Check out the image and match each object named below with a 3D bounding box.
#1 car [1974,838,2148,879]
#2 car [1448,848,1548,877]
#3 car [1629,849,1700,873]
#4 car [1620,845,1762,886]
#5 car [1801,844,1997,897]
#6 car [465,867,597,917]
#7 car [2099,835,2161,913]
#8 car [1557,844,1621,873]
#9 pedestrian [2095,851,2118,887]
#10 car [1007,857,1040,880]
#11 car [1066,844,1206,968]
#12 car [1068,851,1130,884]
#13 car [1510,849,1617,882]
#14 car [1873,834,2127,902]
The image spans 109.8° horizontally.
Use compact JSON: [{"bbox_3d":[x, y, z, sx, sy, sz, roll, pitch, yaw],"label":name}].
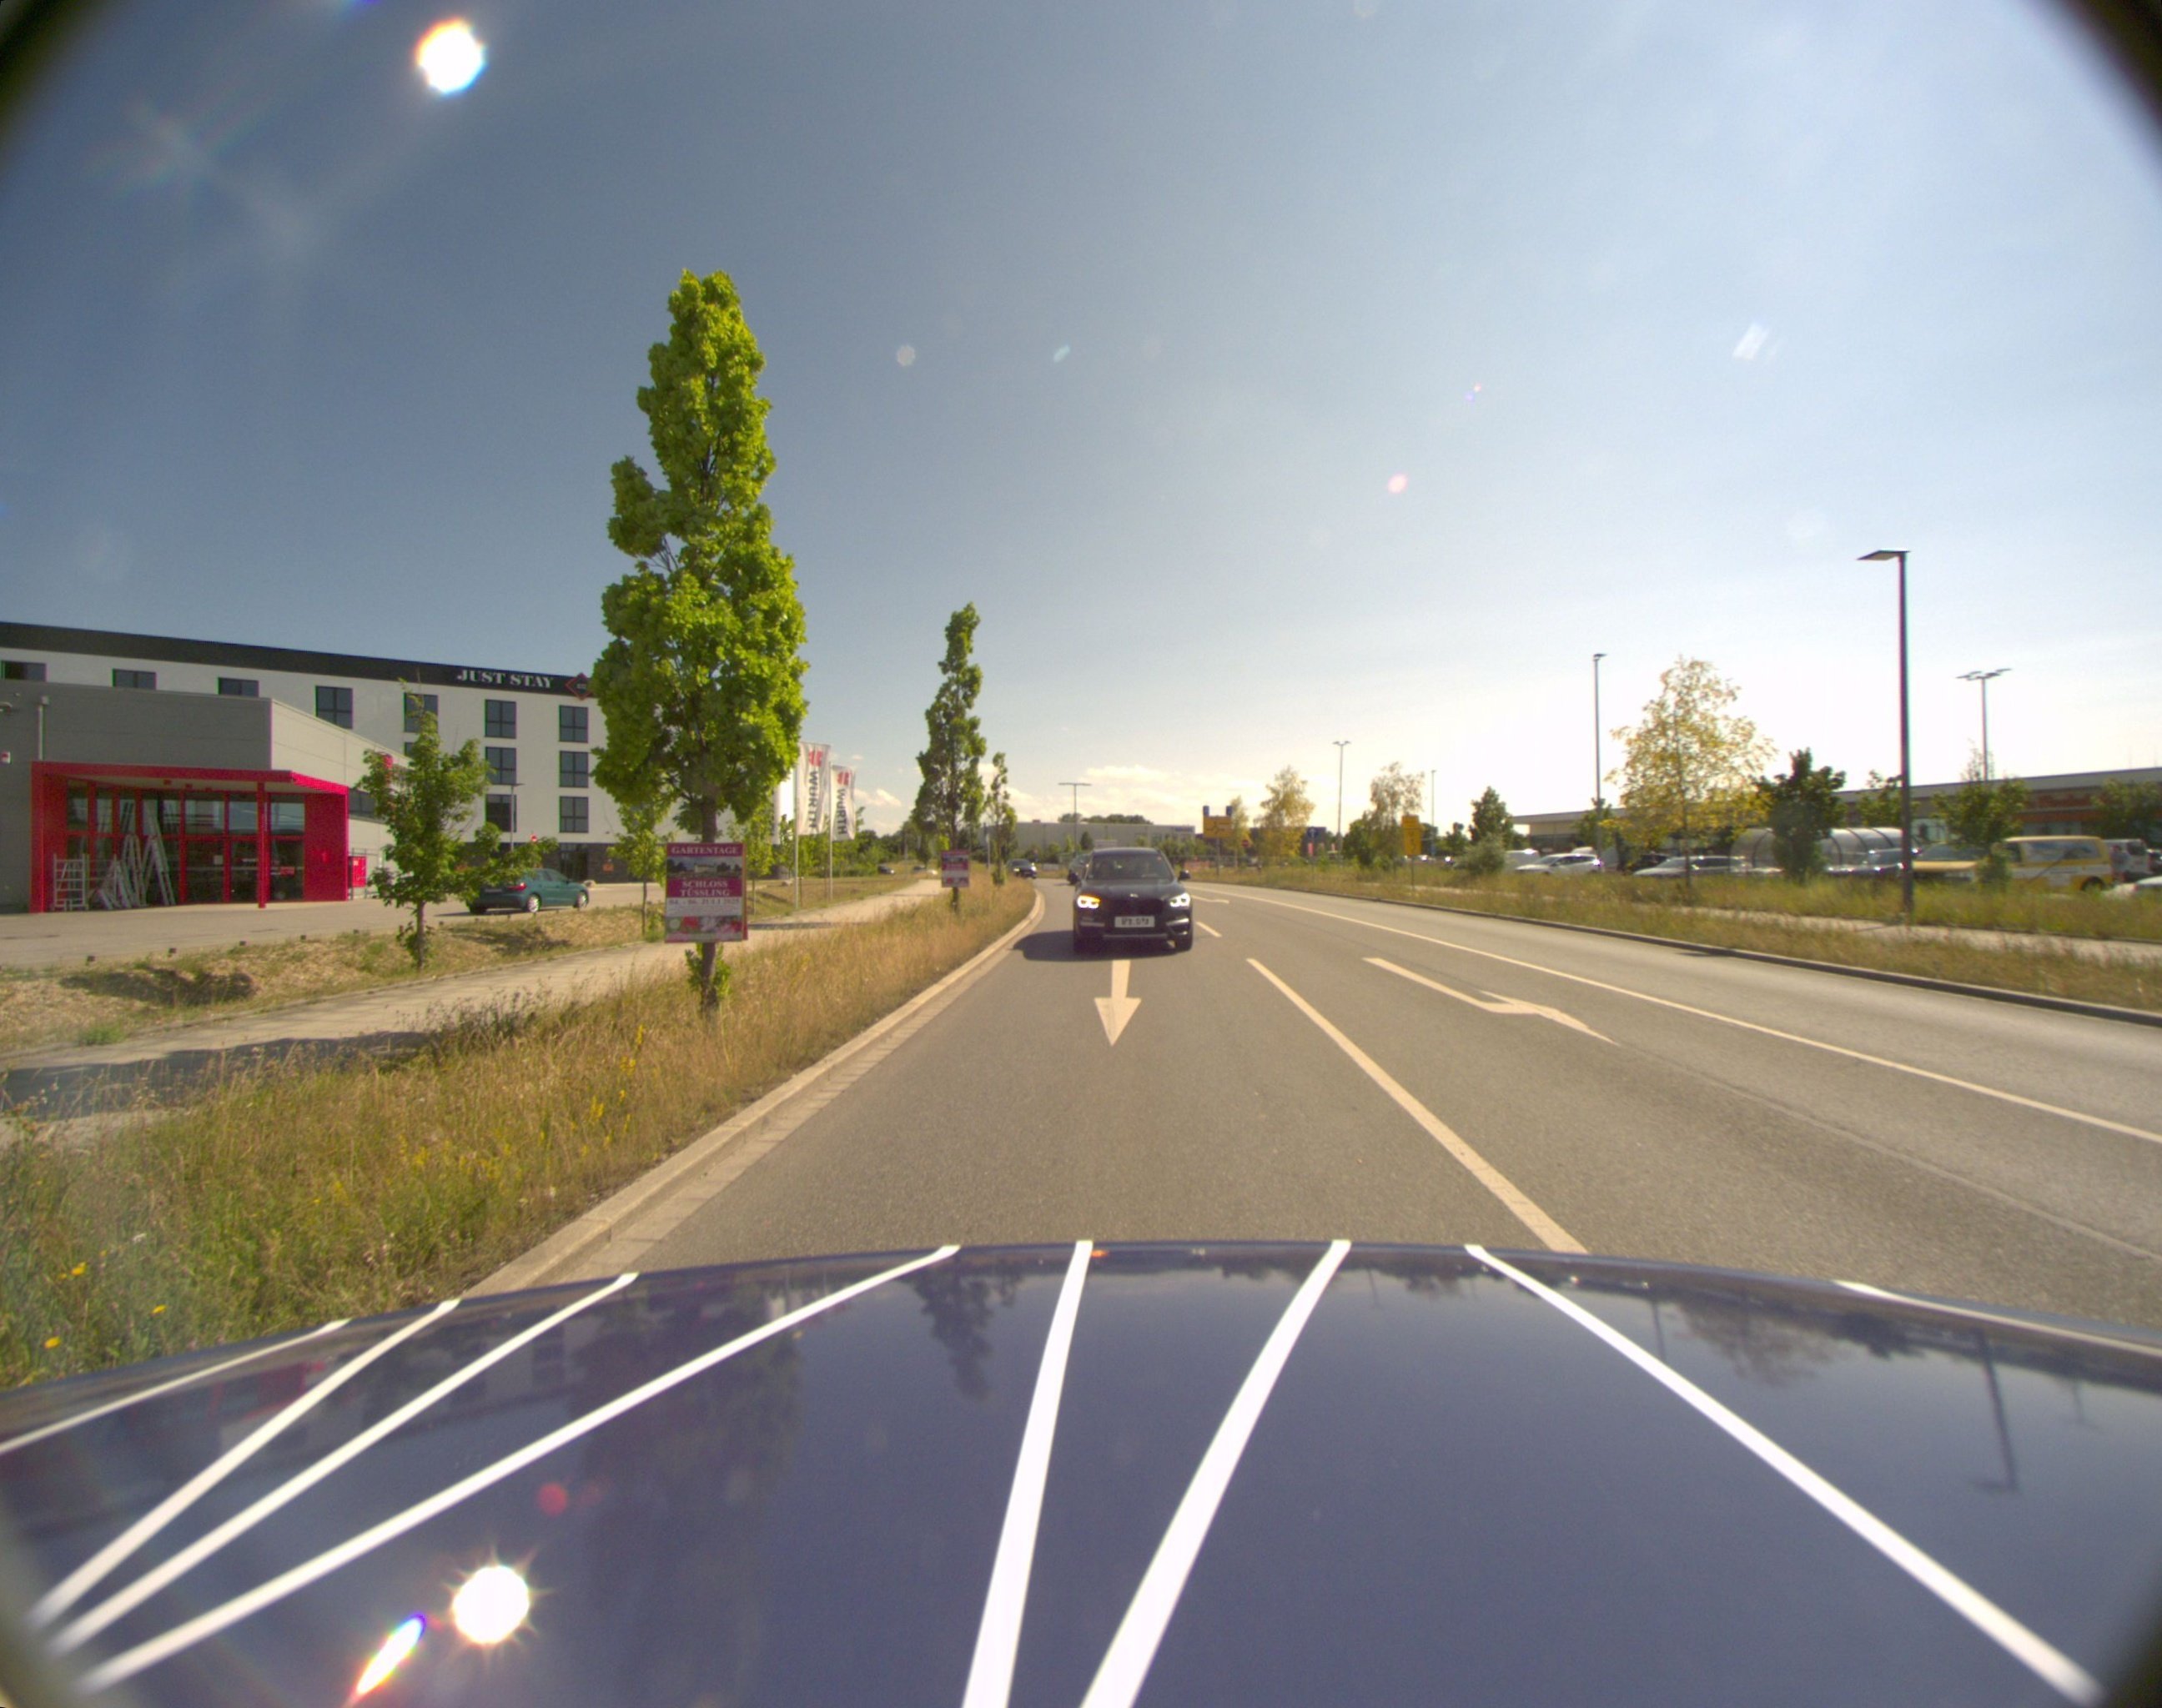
[{"bbox_3d":[44.545,0.193,34.703,1.718,1.730,4.577,0,0,-16],"label":"car"},{"bbox_3d":[25.120,0.481,45.840,5.198,1.662,1.998,0,0,-11],"label":"car"},{"bbox_3d":[39.411,0.483,51.358,4.003,1.543,1.841,0,0,-17],"label":"car"},{"bbox_3d":[26.406,0.487,32.964,4.715,1.662,1.999,0,0,-5],"label":"car"},{"bbox_3d":[27.182,0.519,25.339,4.781,1.662,1.881,0,0,-4],"label":"car"},{"bbox_3d":[-17.436,1.150,24.345,1.517,1.399,3.999,0,0,-4],"label":"car"},{"bbox_3d":[27.519,0.459,18.032,4.154,1.850,1.932,0,0,0],"label":"car"},{"bbox_3d":[47.007,0.401,70.364,5.724,2.572,1.937,0,0,-20],"label":"car"},{"bbox_3d":[41.930,0.617,31.062,0.510,1.456,0.413,-1,1,-17],"label":"pedestrian"},{"bbox_3d":[-4.529,1.081,59.283,1.759,1.678,4.375,0,0,-15],"label":"car"},{"bbox_3d":[0.726,0.782,12.768,1.901,1.669,4.467,-1,-1,-1],"label":"car"},{"bbox_3d":[0.895,0.780,41.221,2.117,1.633,4.772,-1,-1,-15],"label":"car"},{"bbox_3d":[25.825,0.600,40.711,4.603,1.662,1.999,0,0,-6],"label":"car"},{"bbox_3d":[27.868,0.403,23.161,5.697,1.953,1.999,0,0,-4],"label":"car"}]
